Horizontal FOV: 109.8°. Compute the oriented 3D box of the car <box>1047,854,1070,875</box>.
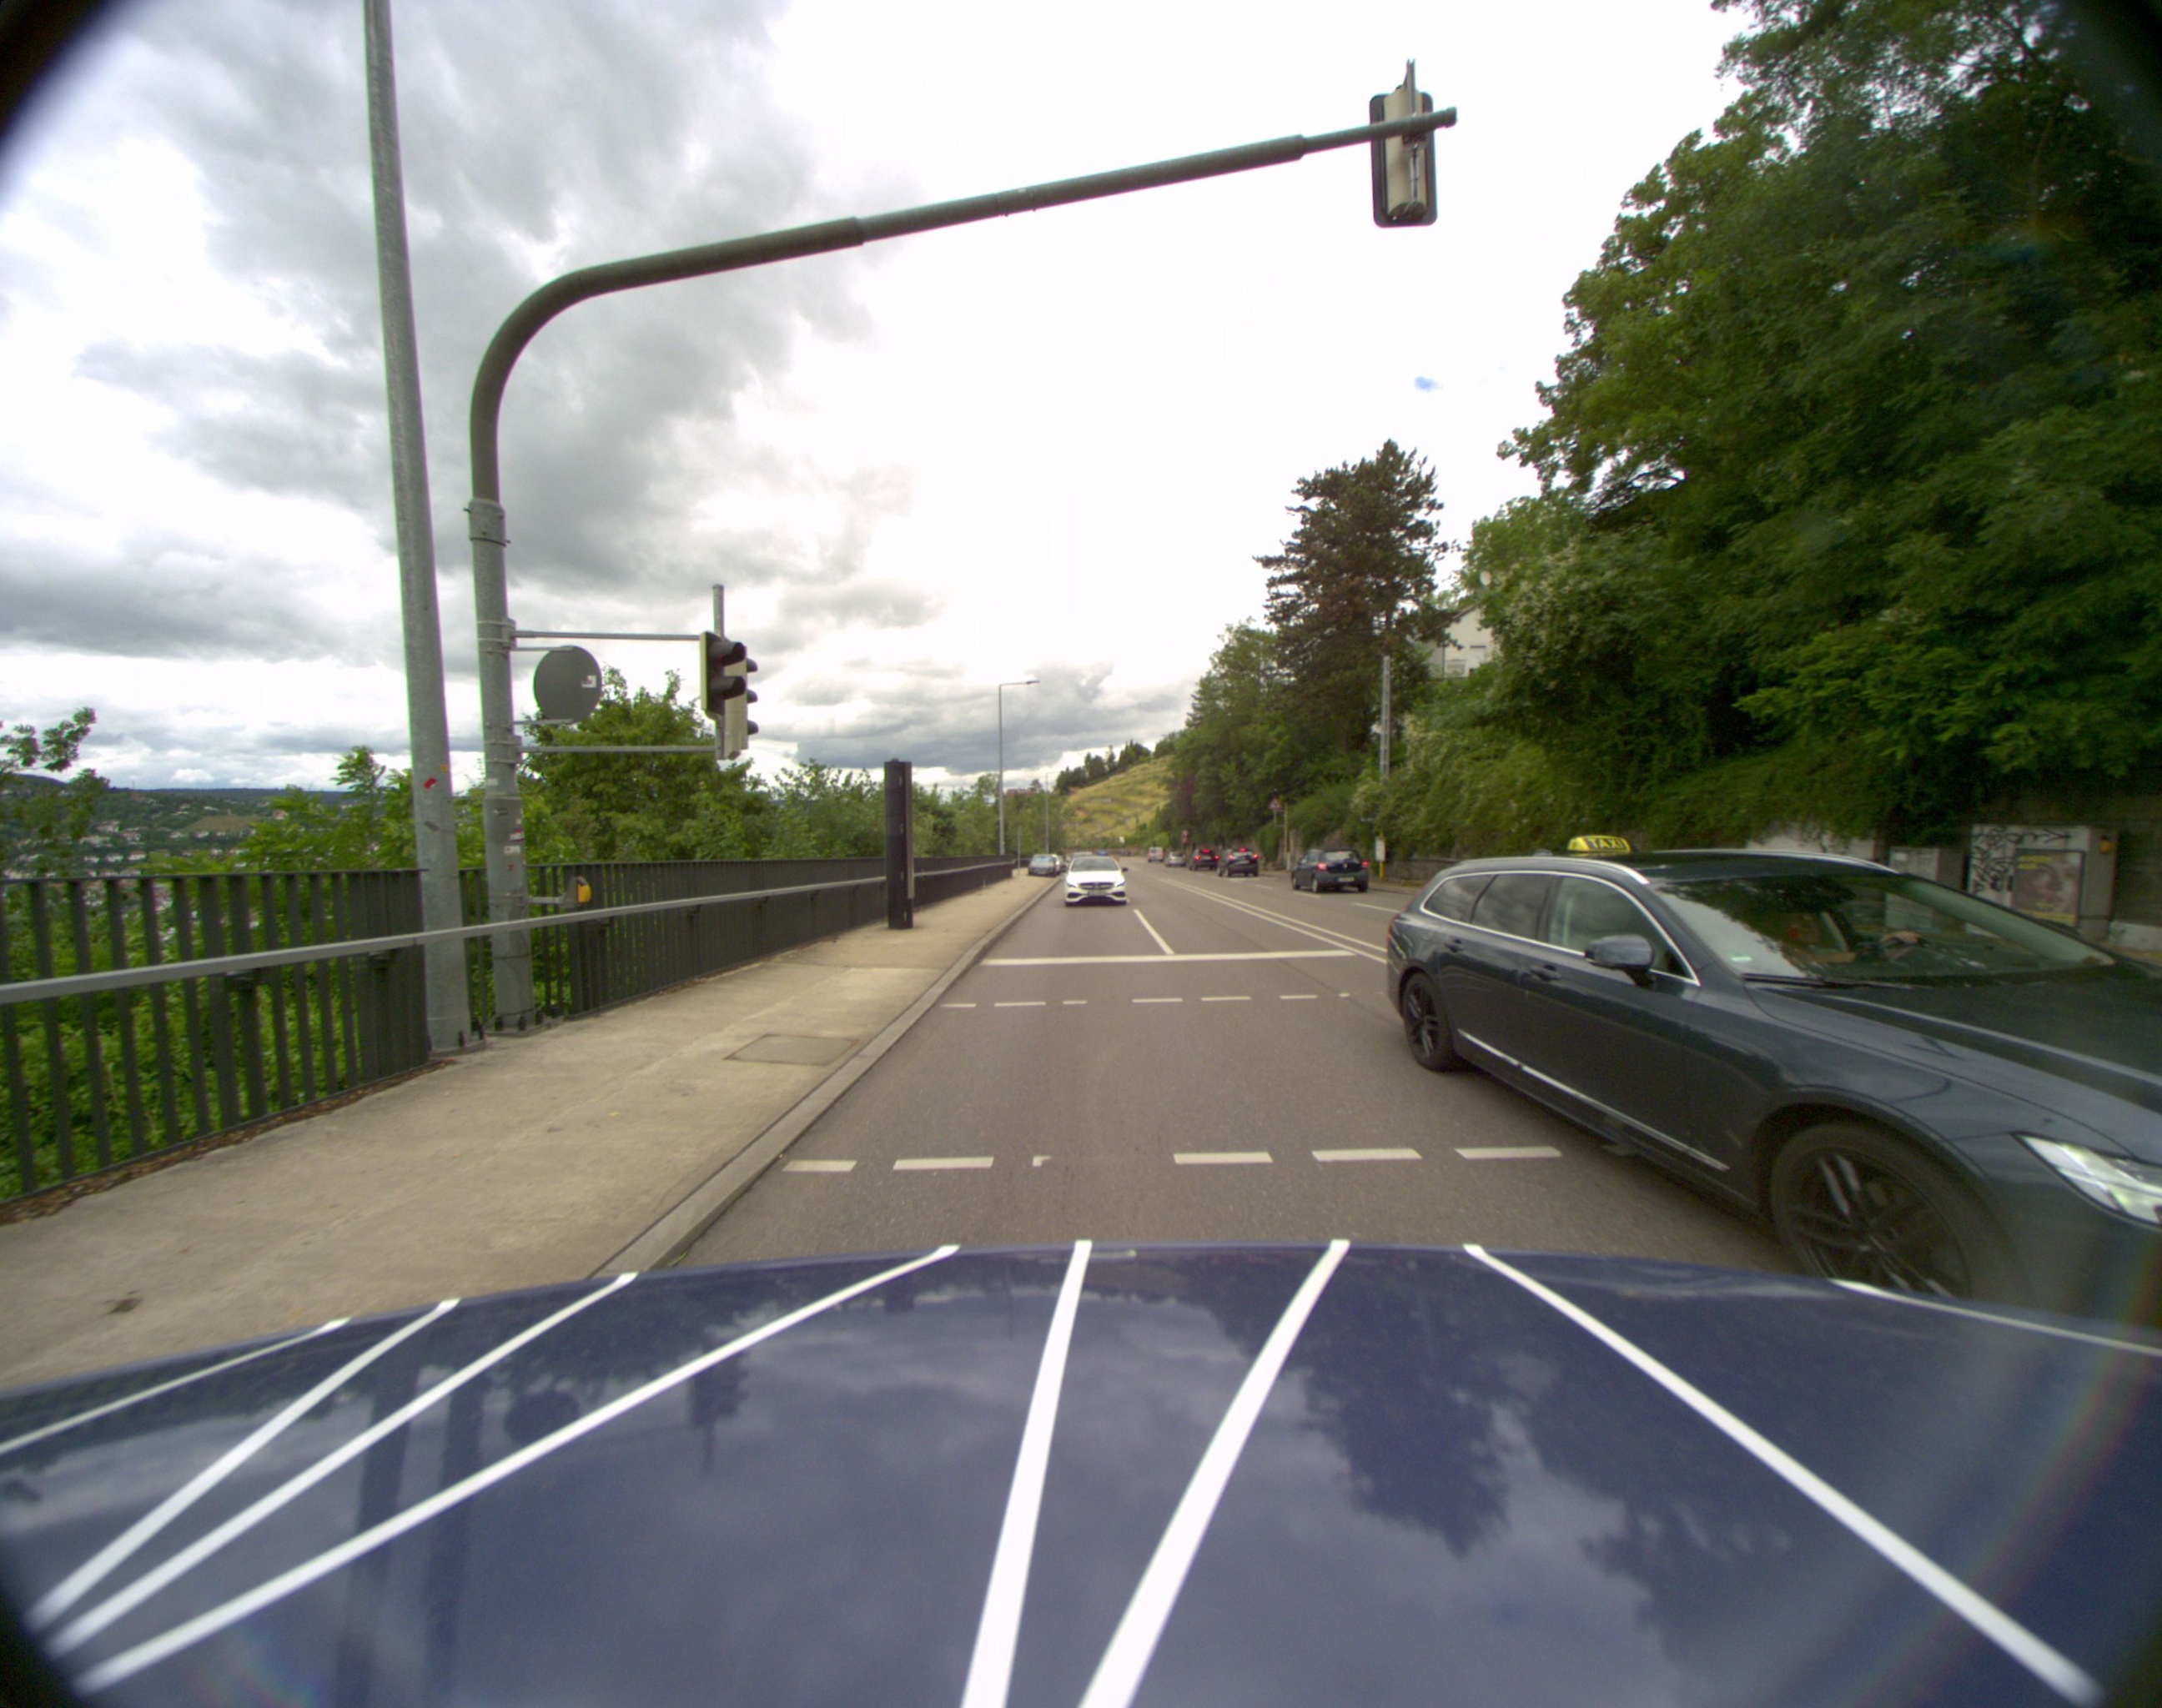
[{"bbox_3d":[-1.829,0.831,63.080,1.663,1.563,4.255,1,0,1],"label":"car"}]

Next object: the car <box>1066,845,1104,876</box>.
[{"bbox_3d":[0.258,0.330,44.186,1.998,1.580,4.000,-3,1,1],"label":"car"}]

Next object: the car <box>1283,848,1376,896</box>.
[{"bbox_3d":[8.445,0.551,26.239,1.817,1.425,4.248,-3,1,1],"label":"car"}]

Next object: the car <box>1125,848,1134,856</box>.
[{"bbox_3d":[10.255,-0.463,161.100,1.819,1.687,4.471,-2,1,5],"label":"car"}]

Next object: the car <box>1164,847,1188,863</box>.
[{"bbox_3d":[9.126,0.128,72.972,1.680,1.433,4.233,-3,0,-1],"label":"car"}]

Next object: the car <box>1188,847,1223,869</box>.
[{"bbox_3d":[9.351,0.243,57.364,1.946,1.540,4.248,-1,1,1],"label":"car"}]

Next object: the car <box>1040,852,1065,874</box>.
[{"bbox_3d":[-2.124,0.664,57.684,1.731,1.559,4.623,0,1,1],"label":"car"}]

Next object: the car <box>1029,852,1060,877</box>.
[{"bbox_3d":[-2.409,0.658,50.989,1.761,1.535,4.427,2,0,1],"label":"car"}]

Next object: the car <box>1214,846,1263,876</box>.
[{"bbox_3d":[8.712,0.387,42.345,1.786,1.473,4.211,-3,0,1],"label":"car"}]

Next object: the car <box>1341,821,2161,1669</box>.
[{"bbox_3d":[3.044,0.708,3.602,1.939,1.567,5.027,-3,0,1],"label":"car"}]

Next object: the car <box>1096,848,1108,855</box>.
[{"bbox_3d":[5.082,-0.629,182.343,1.590,1.453,3.517,-3,1,-19],"label":"car"}]

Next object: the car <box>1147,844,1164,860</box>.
[{"bbox_3d":[9.987,-0.274,102.208,1.926,1.993,5.355,-2,0,1],"label":"car"}]

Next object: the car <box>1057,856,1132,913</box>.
[{"bbox_3d":[0.500,0.835,22.209,1.902,1.418,4.267,-3,-1,4],"label":"car"}]

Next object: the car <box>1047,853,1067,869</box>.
[{"bbox_3d":[-2.251,0.649,72.147,1.828,1.393,4.318,1,0,-1],"label":"car"}]
